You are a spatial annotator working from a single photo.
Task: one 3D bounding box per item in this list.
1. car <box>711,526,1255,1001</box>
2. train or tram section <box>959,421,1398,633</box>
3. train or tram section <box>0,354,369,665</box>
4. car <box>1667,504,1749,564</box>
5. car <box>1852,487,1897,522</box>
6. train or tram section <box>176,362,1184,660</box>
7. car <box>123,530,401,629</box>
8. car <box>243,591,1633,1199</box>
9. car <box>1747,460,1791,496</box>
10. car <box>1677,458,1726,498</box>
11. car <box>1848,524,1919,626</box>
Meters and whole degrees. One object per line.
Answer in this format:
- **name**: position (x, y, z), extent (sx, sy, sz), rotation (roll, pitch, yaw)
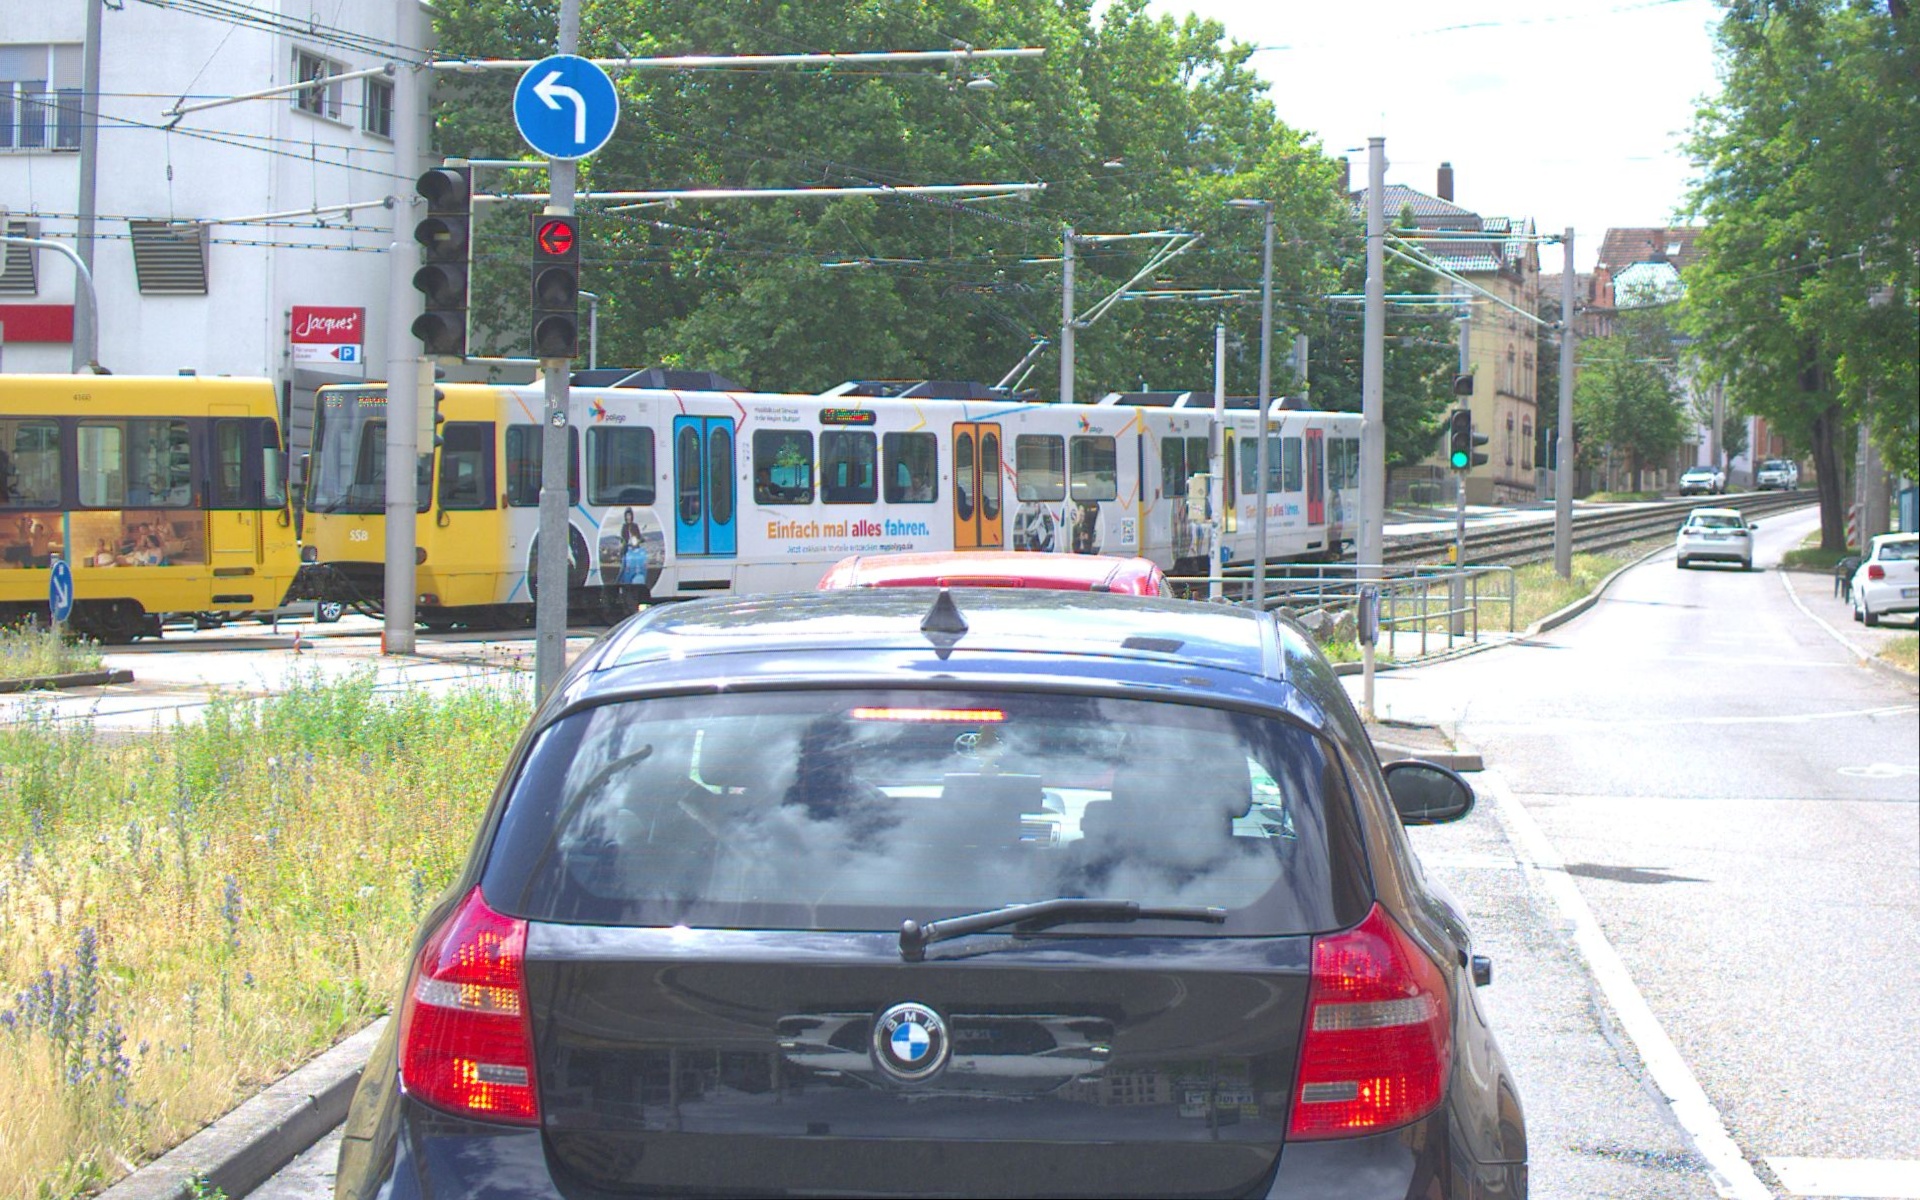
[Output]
- **car**: position (0.235, 0.504, 12.709), extent (1.625, 1.468, 3.999), rotation (0, 0, 6)
- **train or tram section**: position (5.132, -1.357, 71.773), extent (3.753, 3.801, 20.031), rotation (0, 0, 20)
- **train or tram section**: position (-17.147, -1.066, 40.904), extent (20.084, 3.816, 3.761), rotation (-1, 0, -33)
- **car**: position (18.629, -1.650, 85.690), extent (1.816, 1.463, 3.999), rotation (0, 1, 10)
- **car**: position (40.909, -4.253, 153.878), extent (1.816, 1.463, 3.998), rotation (3, 2, 14)
- **train or tram section**: position (-3.325, -1.222, 54.279), extent (3.756, 3.866, 20.595), rotation (0, 0, 34)
- **car**: position (-11.571, -0.341, 57.138), extent (4.158, 1.579, 1.858), rotation (-1, 0, -44)
- **car**: position (-0.114, 0.714, 6.215), extent (1.701, 1.447, 4.000), rotation (0, 0, -3)
- **car**: position (48.732, -7.350, 207.039), extent (1.996, 2.007, 3.996), rotation (0, 0, 21)
- **car**: position (40.498, -6.647, 187.741), extent (1.996, 2.007, 3.996), rotation (0, 0, 21)
- **car**: position (15.409, -0.404, 55.806), extent (1.788, 1.590, 3.998), rotation (0, 0, 13)
